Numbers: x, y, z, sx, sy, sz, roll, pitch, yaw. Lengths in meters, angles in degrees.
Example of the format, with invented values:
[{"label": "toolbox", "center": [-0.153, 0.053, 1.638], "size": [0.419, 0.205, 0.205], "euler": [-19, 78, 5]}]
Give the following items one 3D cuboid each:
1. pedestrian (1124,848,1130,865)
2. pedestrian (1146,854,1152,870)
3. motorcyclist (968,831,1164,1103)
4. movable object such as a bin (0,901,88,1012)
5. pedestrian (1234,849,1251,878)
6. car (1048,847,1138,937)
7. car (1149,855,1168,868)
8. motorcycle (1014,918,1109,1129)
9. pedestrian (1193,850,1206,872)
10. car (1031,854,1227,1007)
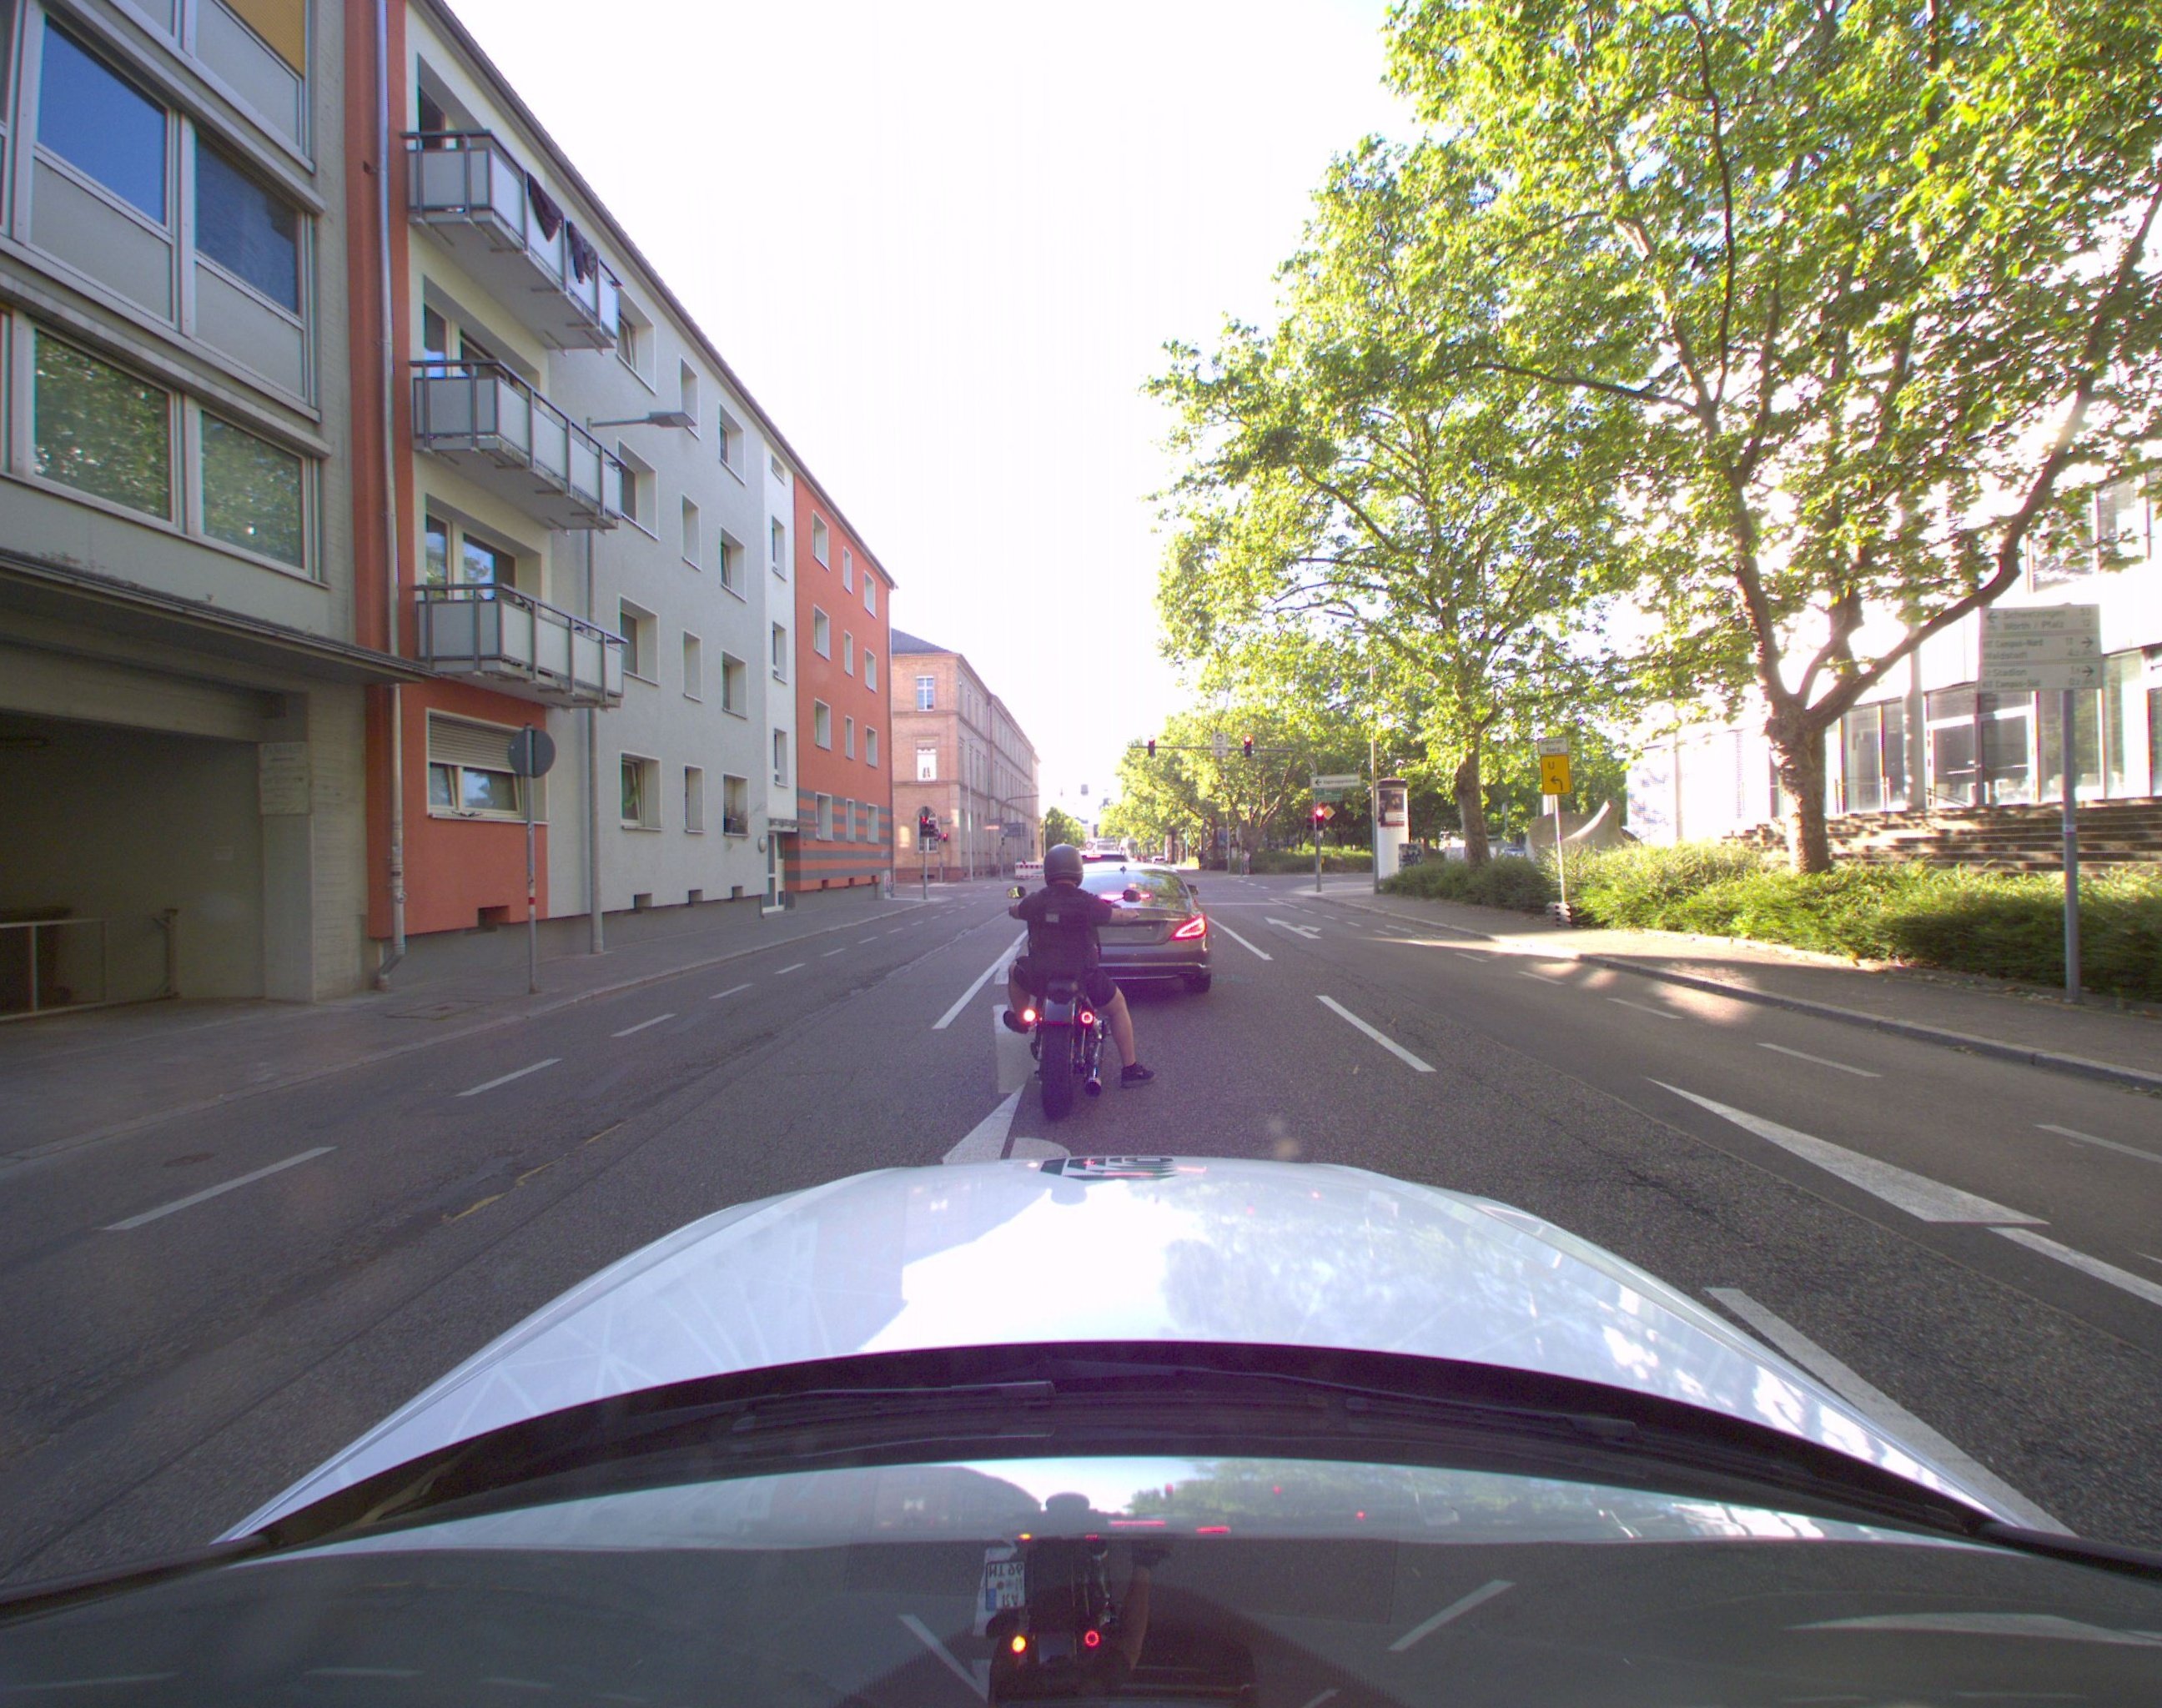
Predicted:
[{"label": "pedestrian", "center": [5.718, 0.282, 100.879], "size": [0.761, 2.051, 0.712], "euler": [0, -1, 1]}, {"label": "pedestrian", "center": [8.936, 1.034, 107.073], "size": [0.811, 2.014, 1.271], "euler": [0, -1, 2]}, {"label": "motorcyclist", "center": [-0.070, 0.671, 5.443], "size": [1.145, 1.598, 1.288], "euler": [0, -1, 1]}, {"label": "movable object such as a bin", "center": [-11.255, 1.064, 8.639], "size": [0.626, 1.100, 0.659], "euler": [0, -1, 4]}, {"label": "pedestrian", "center": [10.551, 0.626, 53.307], "size": [0.996, 1.826, 1.078], "euler": [0, -1, 8]}, {"label": "car", "center": [0.278, 0.692, 16.863], "size": [1.615, 1.594, 4.002], "euler": [-1, 0, 2]}, {"label": "car", "center": [8.412, 0.800, 88.168], "size": [1.769, 1.428, 3.804], "euler": [-1, 0, 2]}, {"label": "motorcycle", "center": [-0.075, 1.003, 5.452], "size": [0.511, 1.002, 2.014], "euler": [0, -1, 2]}, {"label": "pedestrian", "center": [10.448, 0.579, 71.645], "size": [0.753, 1.910, 0.918], "euler": [0, -1, -26]}, {"label": "car", "center": [0.519, 0.738, 9.735], "size": [1.875, 1.449, 3.821], "euler": [0, 0, 2]}]
